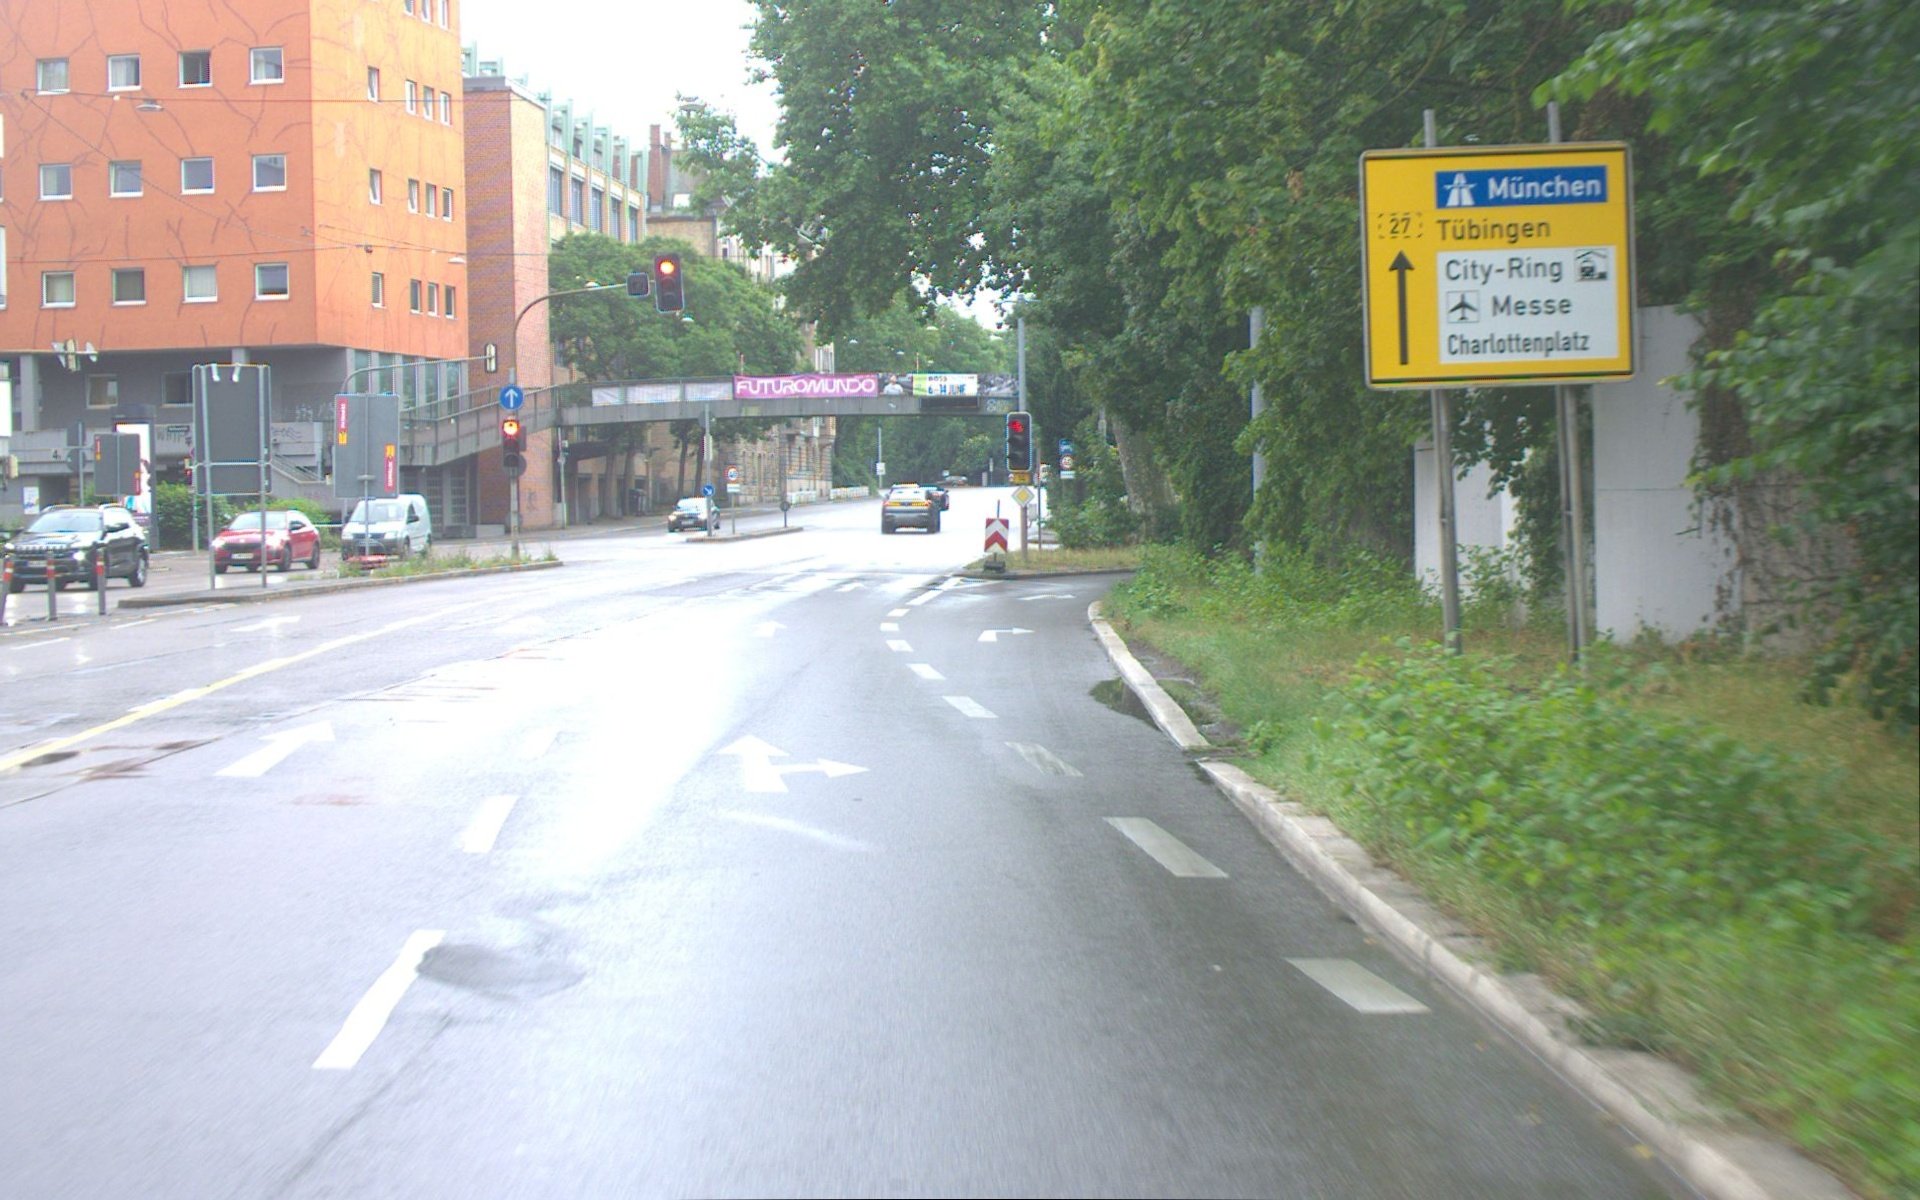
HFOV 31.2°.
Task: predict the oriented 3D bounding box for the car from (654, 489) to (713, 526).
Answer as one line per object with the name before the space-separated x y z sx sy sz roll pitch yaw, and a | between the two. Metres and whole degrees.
car | -11.728 -3.922 145.970 1.994 1.514 4.000 -1 2 2

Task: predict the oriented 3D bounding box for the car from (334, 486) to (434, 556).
car | -15.631 -2.164 93.475 1.734 1.779 4.301 -2 2 3

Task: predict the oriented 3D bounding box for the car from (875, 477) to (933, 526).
car | -2.089 -3.736 129.897 2.120 1.728 4.199 1 3 0

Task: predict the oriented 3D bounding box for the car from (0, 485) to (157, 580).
car | -17.280 -1.335 66.814 1.846 1.731 4.604 -1 2 5

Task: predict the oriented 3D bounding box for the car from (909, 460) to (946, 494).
car | -1.730 -6.546 183.010 1.763 1.691 3.706 -2 2 2

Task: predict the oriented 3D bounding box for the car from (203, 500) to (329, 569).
car | -16.498 -1.584 81.912 1.830 1.497 4.373 -2 2 3
